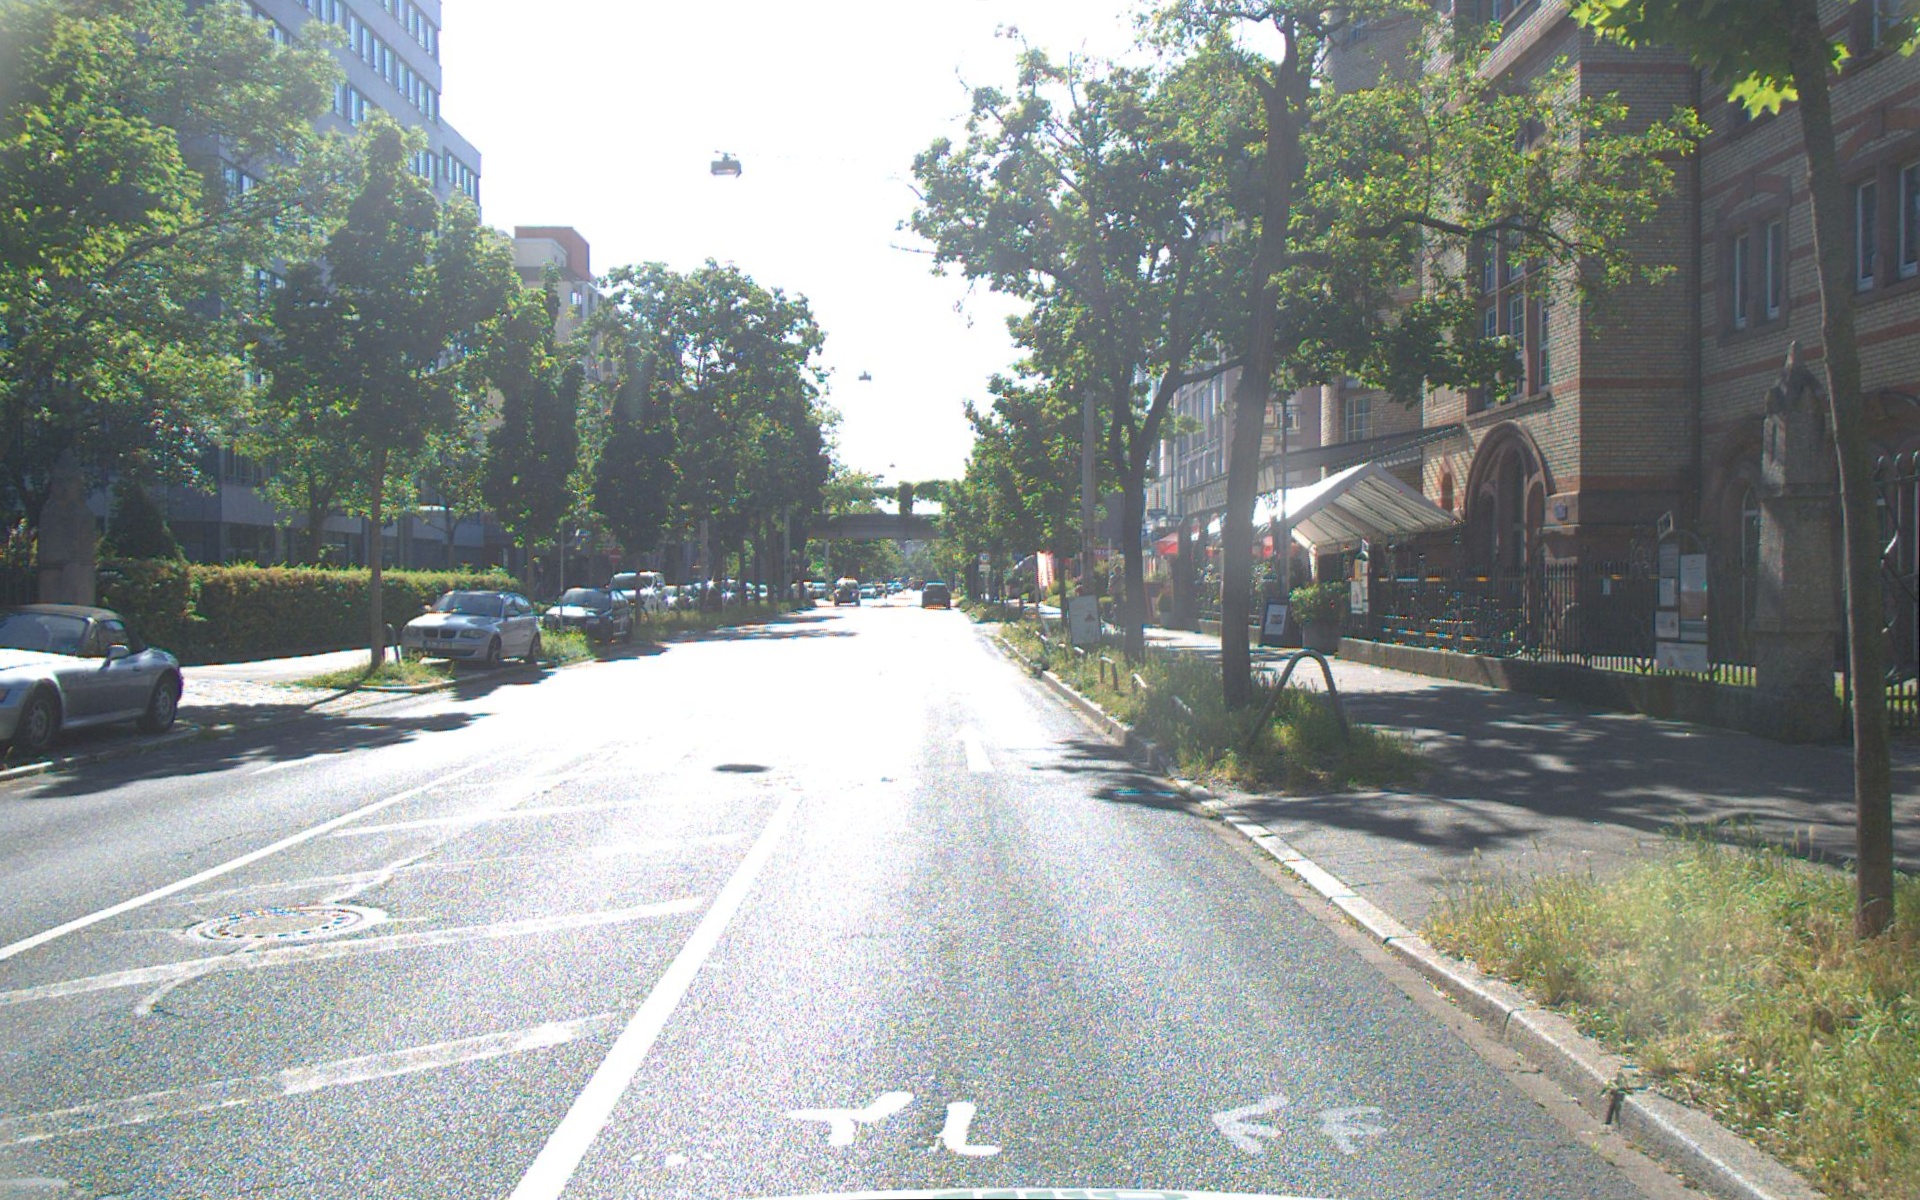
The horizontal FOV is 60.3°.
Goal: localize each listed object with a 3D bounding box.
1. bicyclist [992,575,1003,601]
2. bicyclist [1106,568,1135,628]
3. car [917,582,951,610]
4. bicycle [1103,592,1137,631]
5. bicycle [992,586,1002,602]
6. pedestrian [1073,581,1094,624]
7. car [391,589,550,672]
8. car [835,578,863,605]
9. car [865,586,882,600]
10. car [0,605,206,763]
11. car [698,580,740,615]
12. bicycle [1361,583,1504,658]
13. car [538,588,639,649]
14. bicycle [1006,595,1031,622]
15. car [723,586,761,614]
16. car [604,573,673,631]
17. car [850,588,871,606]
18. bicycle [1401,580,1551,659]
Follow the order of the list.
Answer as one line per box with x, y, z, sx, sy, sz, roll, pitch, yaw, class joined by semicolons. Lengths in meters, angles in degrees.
2.504;-0.827;111.134;0.654;1.725;0.889;1;-1;-2;bicyclist
4.435;-0.049;45.772;0.686;1.627;0.954;0;-1;-2;bicyclist
-1.630;-0.257;100.847;1.945;1.628;4.138;1;0;-3;car
4.425;0.325;45.949;0.671;1.045;2.095;0;-1;-2;bicycle
2.479;-0.370;111.159;0.577;1.045;1.859;0;-1;-2;bicycle
4.816;0.114;64.543;0.641;1.632;0.602;-3;0;-7;pedestrian
-9.315;0.533;31.807;1.653;1.407;4.192;3;0;1;car
-7.925;-0.591;118.582;1.818;1.857;4.608;-2;0;-3;car
-9.591;-0.799;183.313;1.818;1.465;4.317;-2;0;-2;car
-9.009;0.718;15.972;1.644;1.277;4.014;1;0;-1;car
-13.336;-0.146;91.768;1.818;1.882;4.560;1;0;-2;car
7.685;0.338;26.931;2.154;1.199;0.686;0;-1;-8;bicycle
-9.655;0.450;43.230;1.677;1.484;4.072;1;0;0;car
2.440;0.348;68.737;0.578;1.084;2.024;0;0;15;bicycle
-13.091;-0.002;99.532;1.818;1.595;3.871;1;0;-1;car
-12.519;0.073;64.603;1.942;2.113;5.193;-2;0;-4;car
-9.155;-0.326;152.761;1.818;1.595;4.713;-1;0;-2;car
8.019;0.304;25.726;2.154;1.199;0.686;0;-1;-8;bicycle
